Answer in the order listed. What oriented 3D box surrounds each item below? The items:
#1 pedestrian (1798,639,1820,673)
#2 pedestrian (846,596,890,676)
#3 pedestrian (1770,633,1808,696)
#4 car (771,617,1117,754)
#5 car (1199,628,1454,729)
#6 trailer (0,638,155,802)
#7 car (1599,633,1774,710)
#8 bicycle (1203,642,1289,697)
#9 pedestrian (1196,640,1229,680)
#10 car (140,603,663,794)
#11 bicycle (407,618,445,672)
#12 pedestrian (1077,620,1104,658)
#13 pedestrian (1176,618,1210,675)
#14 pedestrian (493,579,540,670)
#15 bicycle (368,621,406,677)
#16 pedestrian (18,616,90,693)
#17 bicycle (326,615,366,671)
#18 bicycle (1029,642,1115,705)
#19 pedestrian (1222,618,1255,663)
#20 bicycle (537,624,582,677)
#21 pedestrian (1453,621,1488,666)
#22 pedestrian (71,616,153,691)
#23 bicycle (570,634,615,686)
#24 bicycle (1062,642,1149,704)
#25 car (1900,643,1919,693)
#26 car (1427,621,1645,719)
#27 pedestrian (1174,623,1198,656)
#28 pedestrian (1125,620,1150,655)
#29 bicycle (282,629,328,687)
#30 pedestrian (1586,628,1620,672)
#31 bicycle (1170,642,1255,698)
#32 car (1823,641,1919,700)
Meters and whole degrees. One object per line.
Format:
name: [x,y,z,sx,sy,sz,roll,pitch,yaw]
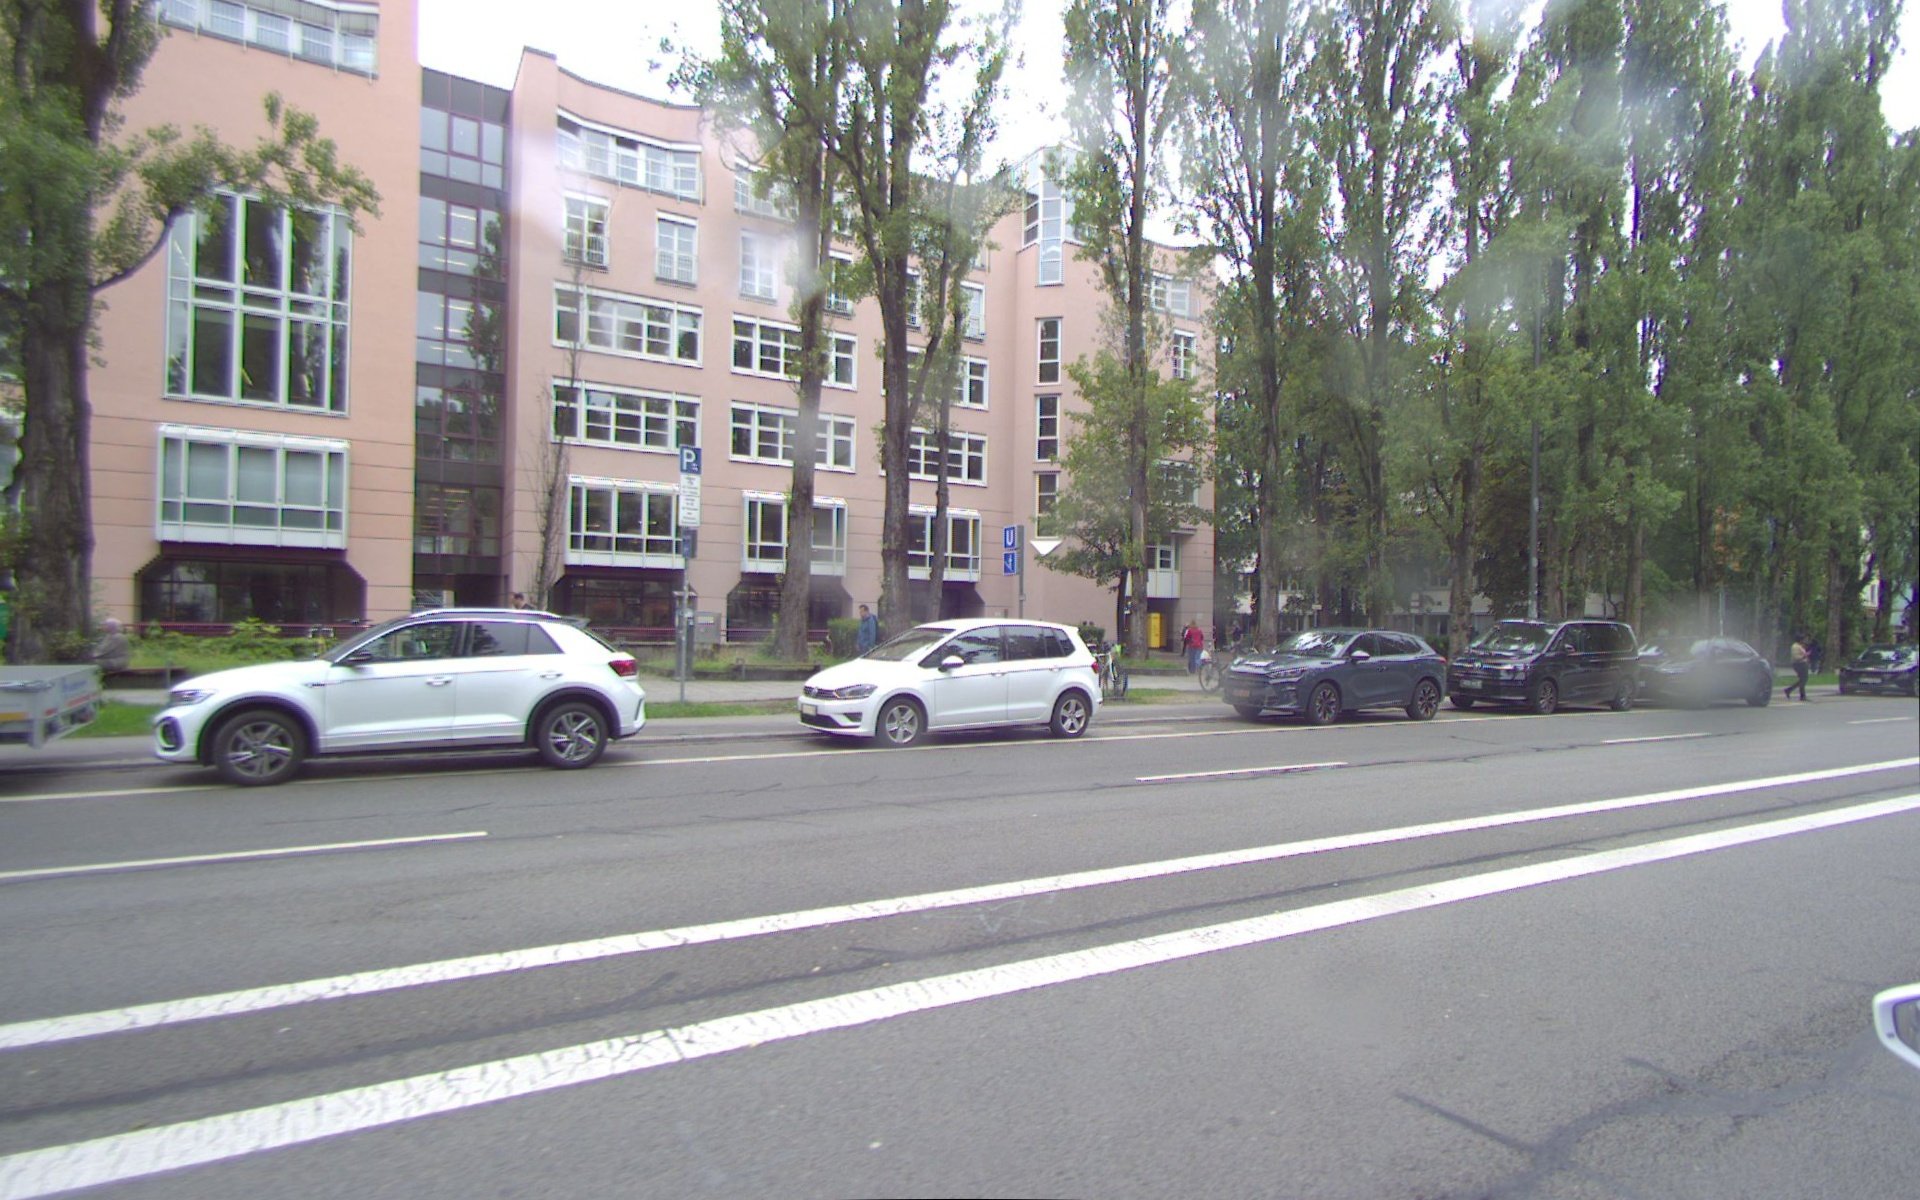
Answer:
pedestrian: [39.251,2.588,46.456,0.669,1.513,0.589,2,-1,-30]
pedestrian: [-2.052,0.806,22.368,0.723,1.736,0.703,2,-1,-30]
pedestrian: [22.647,1.739,27.439,0.595,1.678,0.663,2,-1,-36]
car: [-0.160,1.048,13.555,4.278,1.562,1.982,2,-1,-33]
car: [6.508,1.306,17.741,4.274,1.562,1.984,2,-1,-30]
trailer: [-10.128,0.905,7.581,5.968,1.215,2.385,2,-1,-30]
car: [17.167,1.633,23.691,4.307,1.628,1.982,2,-1,-34]
bicycle: [6.459,1.545,22.795,0.668,1.139,1.973,1,-1,-30]
pedestrian: [7.965,1.884,31.672,0.723,1.220,0.703,1,-1,-30]
car: [-5.293,0.872,10.039,4.183,1.562,1.793,1,-2,-29]
bicycle: [-11.801,0.966,22.169,0.668,1.139,1.973,1,-1,-30]
pedestrian: [5.922,1.781,45.563,0.887,1.684,0.811,2,-1,-30]
pedestrian: [7.174,1.422,30.973,0.723,1.736,0.703,2,-1,-30]
pedestrian: [-8.078,0.446,18.311,0.647,1.626,0.558,1,-1,-11]
bicycle: [-12.378,1.025,21.695,0.668,1.139,1.973,1,-1,-30]
pedestrian: [-14.667,0.869,16.280,0.724,1.203,0.703,2,-1,-33]
bicycle: [-13.125,0.896,21.504,0.668,1.139,1.973,1,-1,-30]
bicycle: [2.191,1.430,19.914,0.668,1.139,1.973,1,-1,-30]
pedestrian: [10.654,1.553,38.439,0.887,1.684,0.811,2,-1,-30]
bicycle: [-9.241,1.145,23.145,0.668,1.139,2.090,1,-1,-30]
pedestrian: [19.304,1.641,37.970,0.887,1.684,0.811,2,-1,-30]
pedestrian: [-14.101,0.877,16.720,0.695,1.203,0.732,1,-1,8]
bicycle: [-8.704,1.397,23.741,0.668,1.139,1.973,1,-1,-30]
bicycle: [2.903,1.437,20.242,0.668,1.139,1.973,1,-1,-30]
car: [33.327,2.253,33.629,3.927,1.600,1.752,0,-1,-31]
car: [12.119,1.399,21.058,4.708,1.821,1.983,2,-1,-32]
pedestrian: [11.674,2.018,51.795,0.887,1.684,0.811,2,-1,-30]
pedestrian: [8.778,1.860,49.693,0.887,1.684,0.811,2,-1,-30]
bicycle: [-13.692,1.184,21.043,0.668,1.139,1.973,1,-1,-30]
pedestrian: [25.029,1.952,39.096,0.887,1.684,0.811,2,-1,-30]
bicycle: [5.583,1.524,22.335,0.668,1.139,1.973,1,-1,-30]
car: [28.418,2.108,30.861,3.570,1.600,1.932,0,-1,-32]
